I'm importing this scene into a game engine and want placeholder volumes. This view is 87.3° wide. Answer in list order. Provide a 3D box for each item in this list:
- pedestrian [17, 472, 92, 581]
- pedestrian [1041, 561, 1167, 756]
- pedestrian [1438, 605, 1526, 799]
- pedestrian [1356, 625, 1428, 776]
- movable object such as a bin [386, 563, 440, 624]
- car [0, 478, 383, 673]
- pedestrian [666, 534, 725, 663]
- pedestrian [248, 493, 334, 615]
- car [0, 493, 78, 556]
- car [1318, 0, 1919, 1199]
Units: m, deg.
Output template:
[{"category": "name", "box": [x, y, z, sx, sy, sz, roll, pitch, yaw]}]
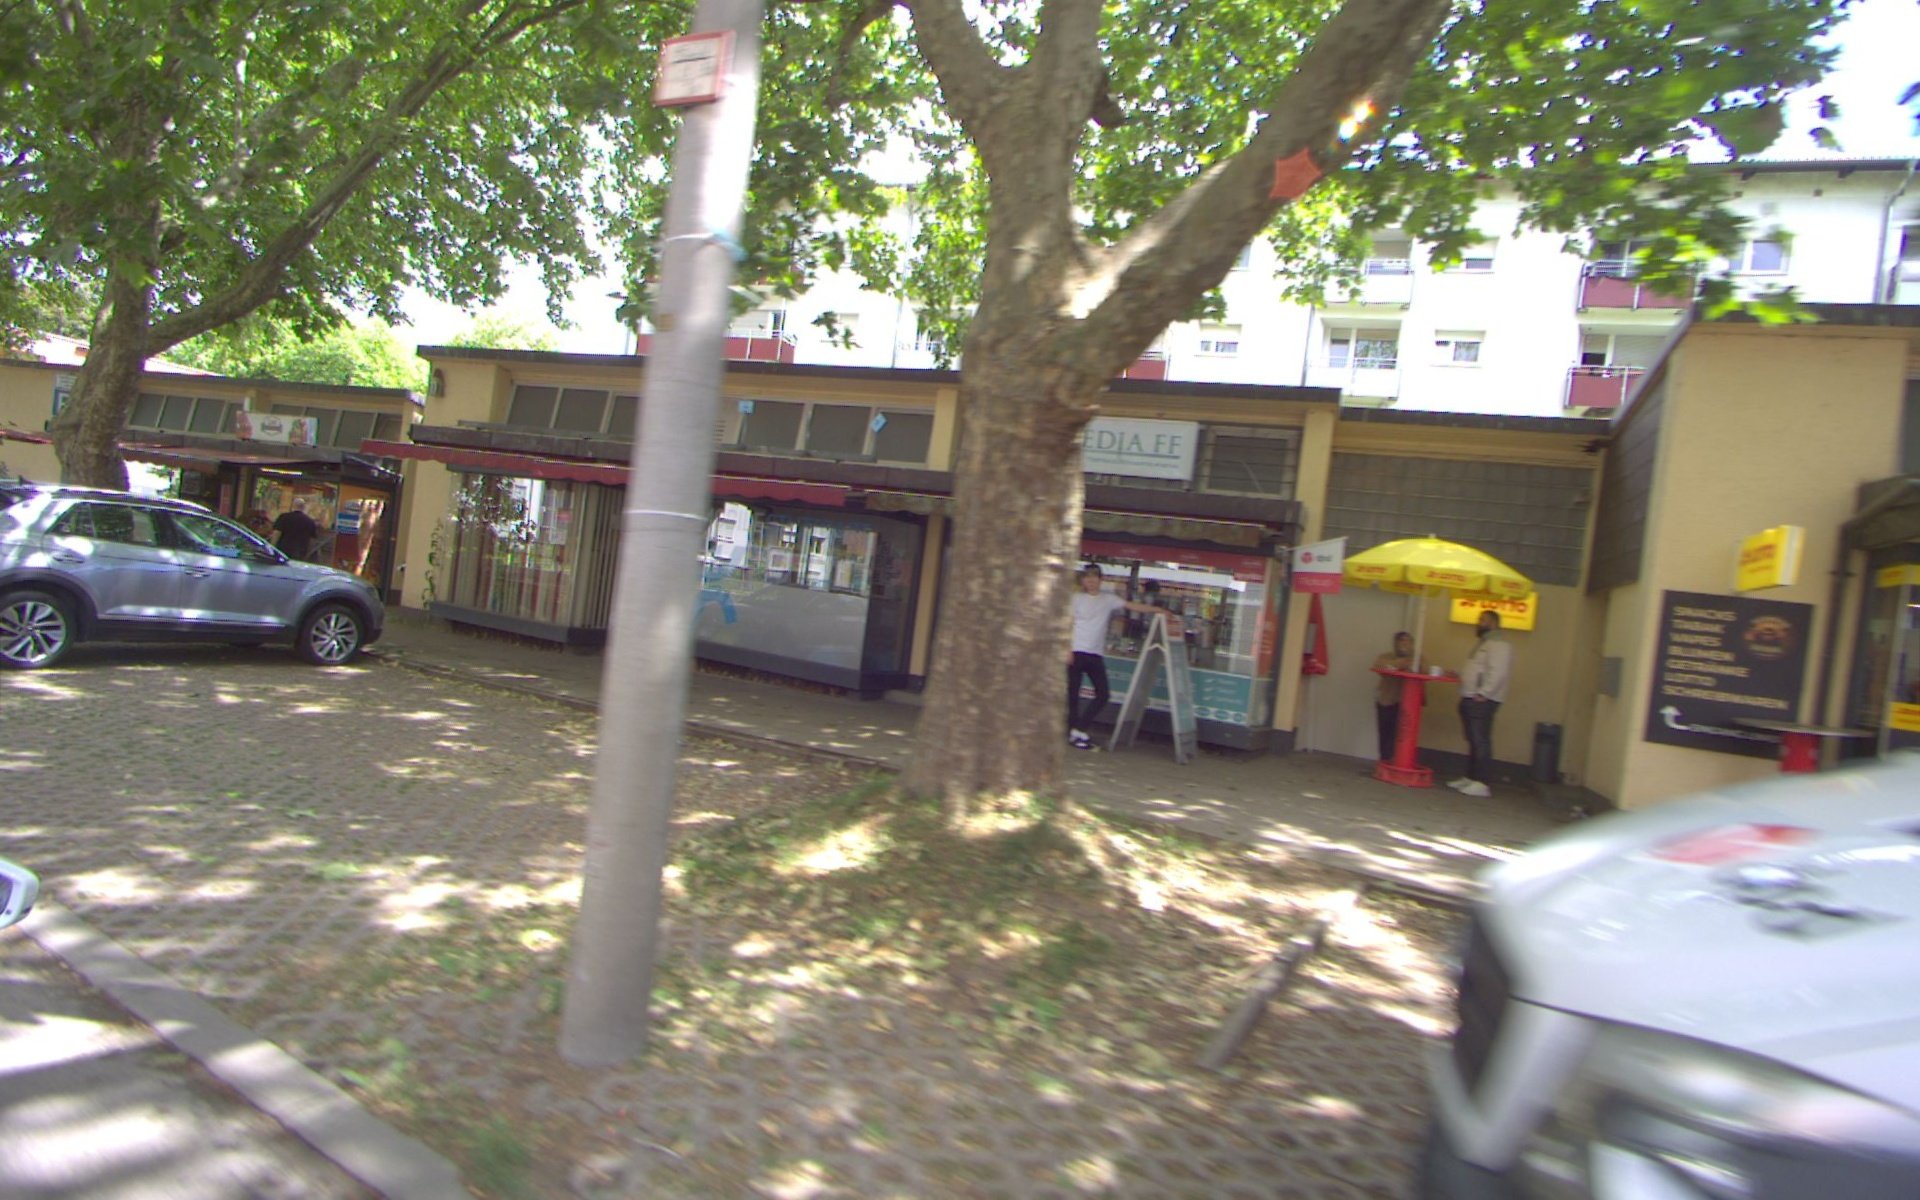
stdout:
[{"category": "pedestrian", "box": [-15.126, -1.221, 16.808, 0.759, 1.697, 0.624, 7, 1, 31]}, {"category": "pedestrian", "box": [1.427, 0.572, 10.036, 0.911, 1.824, 0.604, 5, 1, -15]}, {"category": "pedestrian", "box": [5.160, 0.996, 9.965, 0.525, 1.815, 0.519, 7, 0, 21]}, {"category": "pedestrian", "box": [4.552, 1.049, 10.630, 0.501, 1.504, 0.465, 7, 0, 20]}, {"category": "movable object such as a bin", "box": [-8.986, -0.102, 16.526, 0.577, 0.926, 0.438, 7, 2, 22]}, {"category": "car", "box": [-7.961, -0.221, 9.724, 1.591, 1.582, 3.838, 7, 1, 24]}, {"category": "pedestrian", "box": [-3.665, -0.013, 13.956, 0.366, 1.726, 0.545, 7, 1, 24]}, {"category": "pedestrian", "box": [-10.187, -0.681, 15.334, 0.647, 1.747, 0.760, 7, 2, 27]}, {"category": "car", "box": [-29.763, -2.377, 30.414, 1.976, 1.705, 4.184, 8, 4, 23]}, {"category": "car", "box": [3.804, 0.631, 0.248, 6.719, 2.615, 1.906, 7, 2, 31]}]
